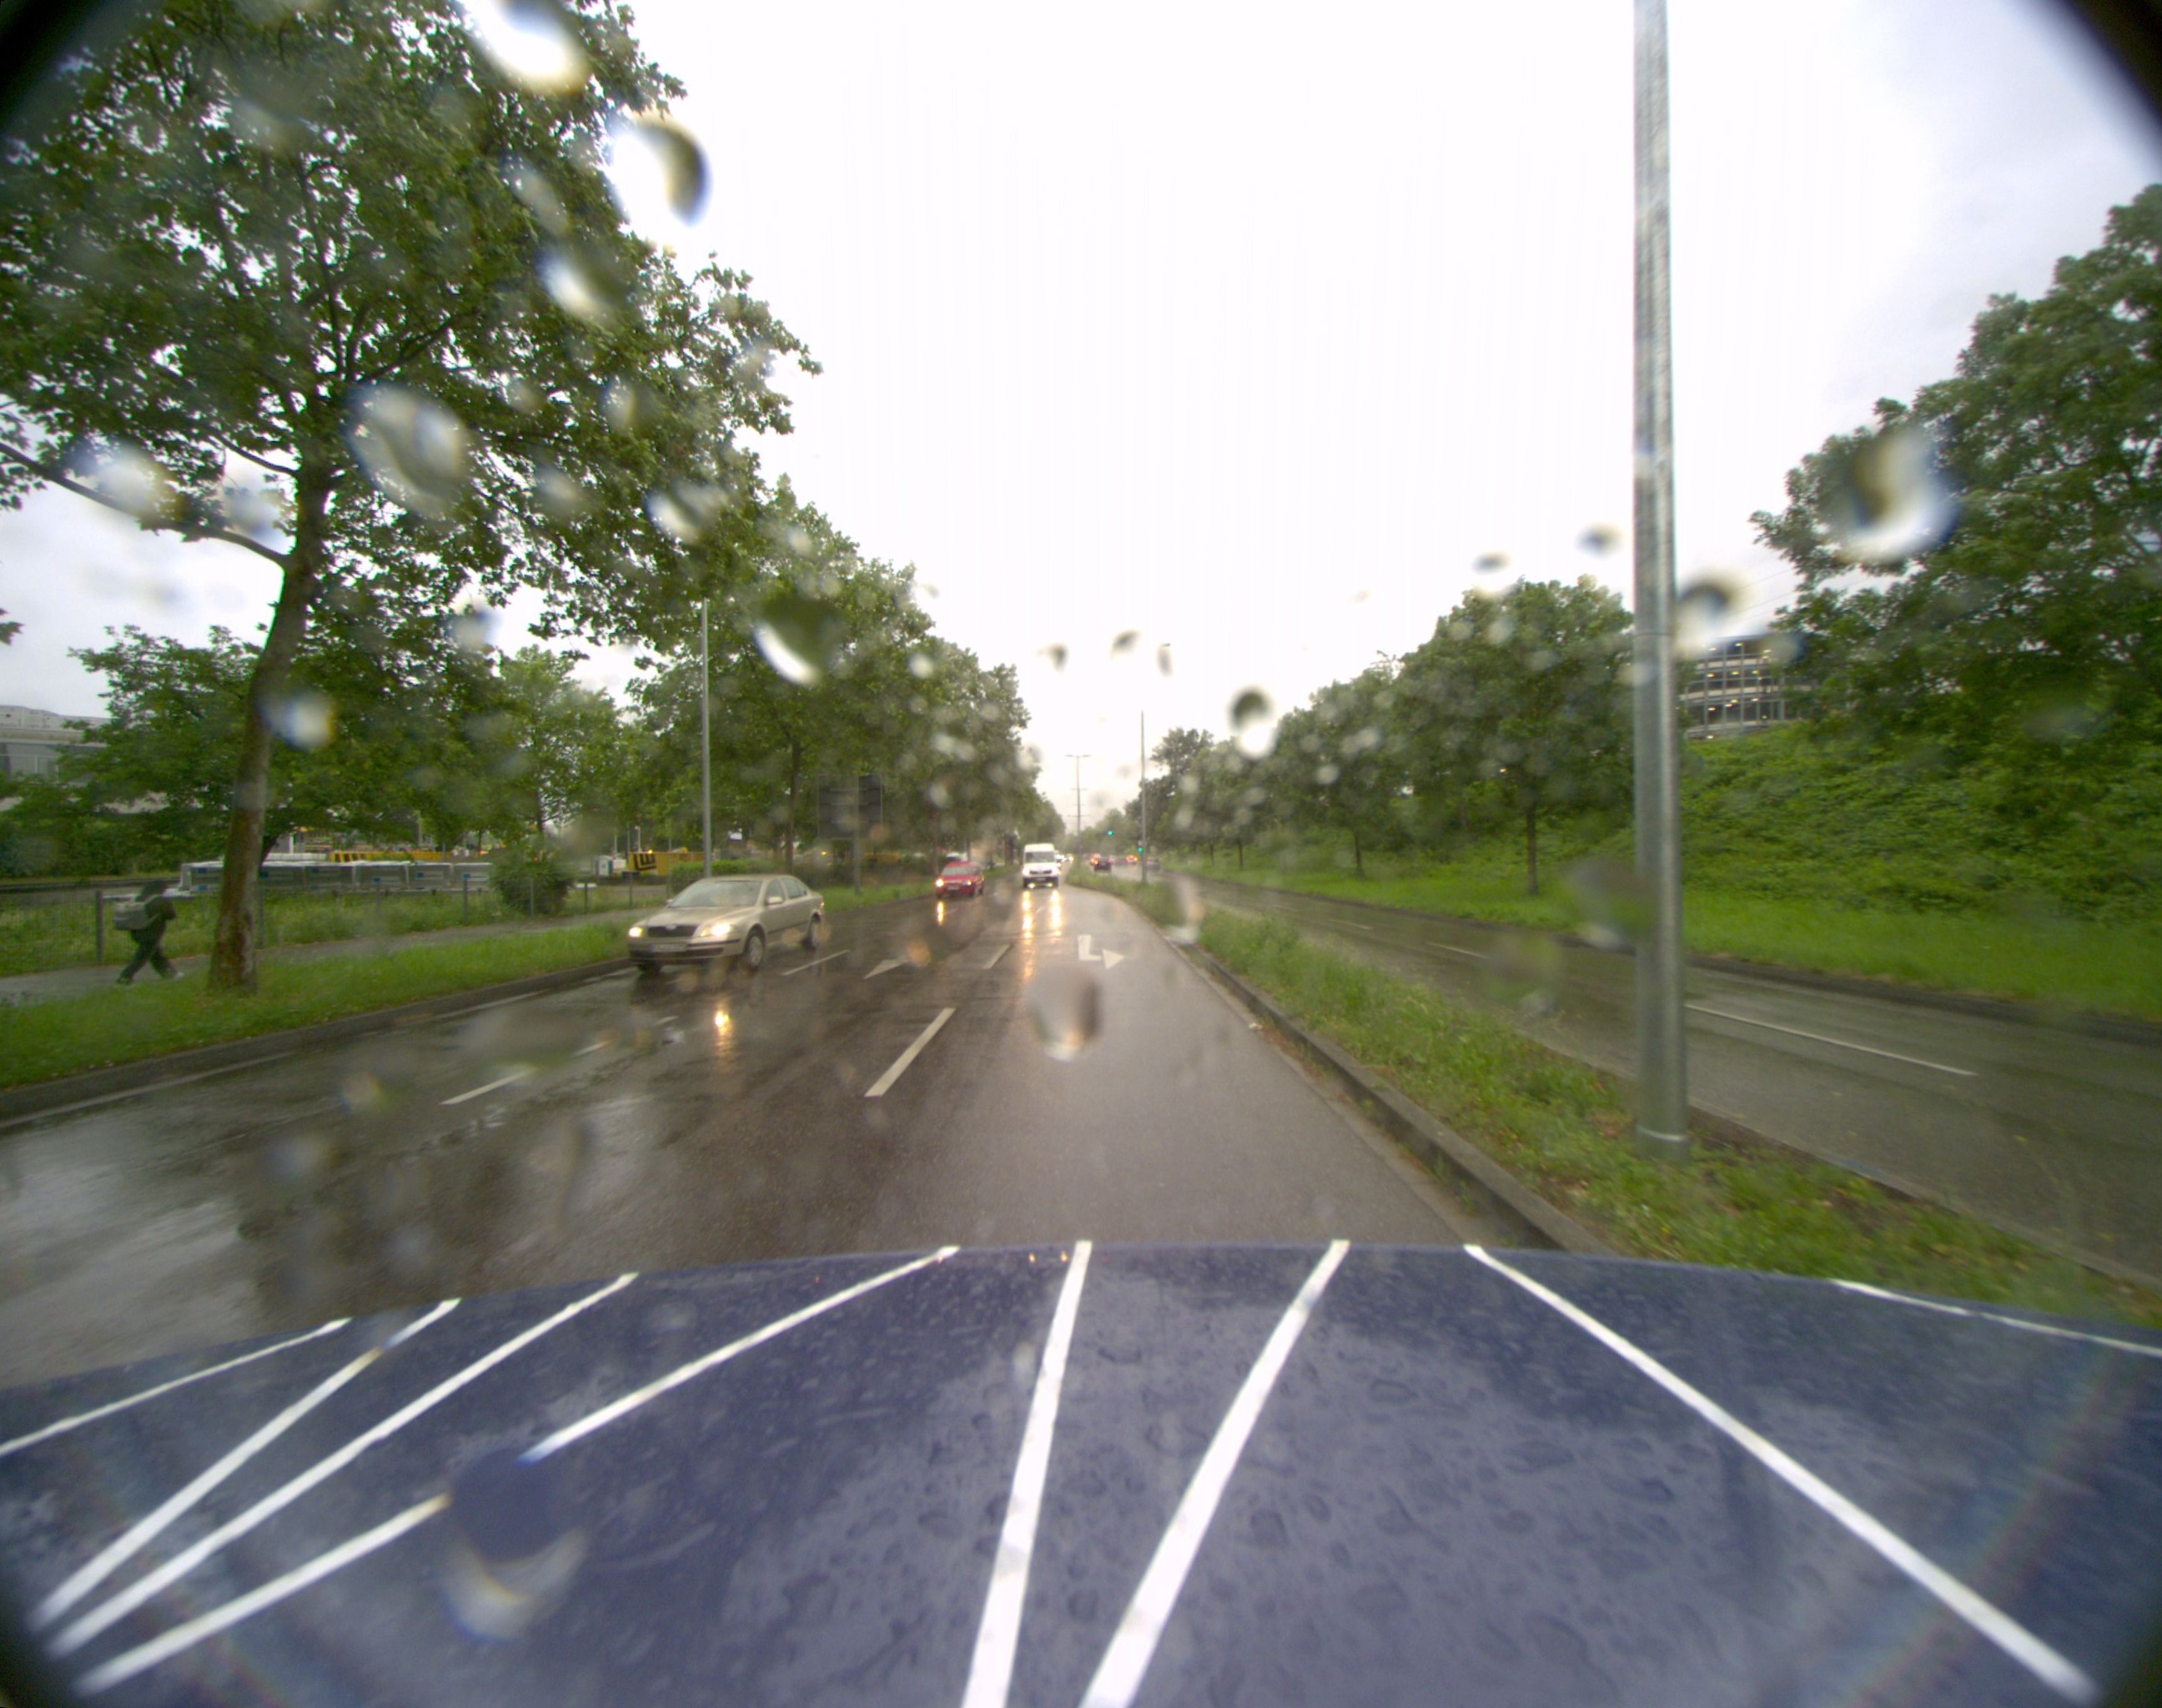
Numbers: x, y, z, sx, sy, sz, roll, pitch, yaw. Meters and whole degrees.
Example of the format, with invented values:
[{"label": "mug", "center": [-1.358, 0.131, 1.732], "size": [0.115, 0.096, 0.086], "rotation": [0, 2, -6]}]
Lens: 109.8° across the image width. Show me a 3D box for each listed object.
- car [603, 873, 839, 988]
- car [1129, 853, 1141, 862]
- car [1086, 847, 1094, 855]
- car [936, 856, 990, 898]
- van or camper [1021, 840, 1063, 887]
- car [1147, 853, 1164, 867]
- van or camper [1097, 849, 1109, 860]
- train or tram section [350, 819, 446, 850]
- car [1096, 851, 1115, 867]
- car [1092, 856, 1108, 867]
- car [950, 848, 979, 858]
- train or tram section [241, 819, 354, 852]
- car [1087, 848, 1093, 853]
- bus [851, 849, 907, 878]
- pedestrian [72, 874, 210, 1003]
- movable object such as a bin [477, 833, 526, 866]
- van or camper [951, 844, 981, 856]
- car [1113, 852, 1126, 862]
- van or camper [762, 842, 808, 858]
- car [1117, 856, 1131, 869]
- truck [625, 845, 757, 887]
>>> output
[{"label": "car", "center": [-5.711, 1.124, 12.781], "size": [1.807, 1.422, 4.386], "rotation": [-1, 1, 1]}, {"label": "car", "center": [9.105, 0.586, 128.652], "size": [1.840, 1.493, 4.439], "rotation": [1, 0, 1]}, {"label": "car", "center": [2.168, -0.754, 186.612], "size": [1.998, 2.002, 3.999], "rotation": [-2, 2, 1]}, {"label": "car", "center": [-5.474, 1.023, 35.703], "size": [1.699, 1.759, 4.558], "rotation": [-1, 0, 1]}, {"label": "van or camper", "center": [-2.246, 0.528, 45.531], "size": [2.100, 2.580, 4.775], "rotation": [-2, 0, 1]}, {"label": "car", "center": [8.891, 0.713, 90.378], "size": [1.700, 1.608, 3.847], "rotation": [-1, 0, 1]}, {"label": "van or camper", "center": [3.624, 0.122, 126.534], "size": [1.733, 1.732, 3.999], "rotation": [2, 1, -1]}, {"label": "train or tram section", "center": [-82.244, -2.389, 91.742], "size": [8.385, 3.500, 2.394], "rotation": [-3, 2, -38]}, {"label": "car", "center": [2.607, 0.471, 80.669], "size": [1.828, 1.566, 4.358], "rotation": [0, 1, 0]}, {"label": "car", "center": [2.700, 1.041, 110.719], "size": [1.914, 1.565, 4.707], "rotation": [1, 0, -3]}, {"label": "car", "center": [-19.718, -0.193, 128.386], "size": [4.470, 1.663, 1.863], "rotation": [0, 1, -38]}, {"label": "train or tram section", "center": [-88.913, -2.131, 86.473], "size": [8.546, 3.500, 2.394], "rotation": [-3, 2, -38]}, {"label": "car", "center": [3.142, -1.084, 254.040], "size": [1.998, 1.678, 4.708], "rotation": [1, 0, 1]}, {"label": "bus", "center": [-19.524, 0.913, 73.570], "size": [4.804, 2.632, 2.000], "rotation": [-1, 1, 1]}, {"label": "pedestrian", "center": [-13.757, 1.194, 11.160], "size": [0.666, 1.752, 1.075], "rotation": [-1, 1, -5]}, {"label": "movable object such as a bin", "center": [-63.738, -0.496, 83.577], "size": [3.602, 3.605, 3.326], "rotation": [0, 1, 35]}, {"label": "van or camper", "center": [-20.047, -0.637, 132.402], "size": [4.918, 2.076, 1.863], "rotation": [0, 1, -38]}, {"label": "car", "center": [6.205, 0.487, 123.847], "size": [1.913, 1.565, 4.708], "rotation": [2, 0, 1]}, {"label": "van or camper", "center": [-66.043, -0.981, 169.662], "size": [8.994, 3.140, 2.979], "rotation": [-3, 2, -35]}, {"label": "car", "center": [6.000, 1.122, 104.967], "size": [1.724, 1.609, 4.347], "rotation": [1, 1, 6]}, {"label": "truck", "center": [-33.027, 0.934, 64.623], "size": [9.517, 3.015, 3.073], "rotation": [-3, 2, -35]}]
